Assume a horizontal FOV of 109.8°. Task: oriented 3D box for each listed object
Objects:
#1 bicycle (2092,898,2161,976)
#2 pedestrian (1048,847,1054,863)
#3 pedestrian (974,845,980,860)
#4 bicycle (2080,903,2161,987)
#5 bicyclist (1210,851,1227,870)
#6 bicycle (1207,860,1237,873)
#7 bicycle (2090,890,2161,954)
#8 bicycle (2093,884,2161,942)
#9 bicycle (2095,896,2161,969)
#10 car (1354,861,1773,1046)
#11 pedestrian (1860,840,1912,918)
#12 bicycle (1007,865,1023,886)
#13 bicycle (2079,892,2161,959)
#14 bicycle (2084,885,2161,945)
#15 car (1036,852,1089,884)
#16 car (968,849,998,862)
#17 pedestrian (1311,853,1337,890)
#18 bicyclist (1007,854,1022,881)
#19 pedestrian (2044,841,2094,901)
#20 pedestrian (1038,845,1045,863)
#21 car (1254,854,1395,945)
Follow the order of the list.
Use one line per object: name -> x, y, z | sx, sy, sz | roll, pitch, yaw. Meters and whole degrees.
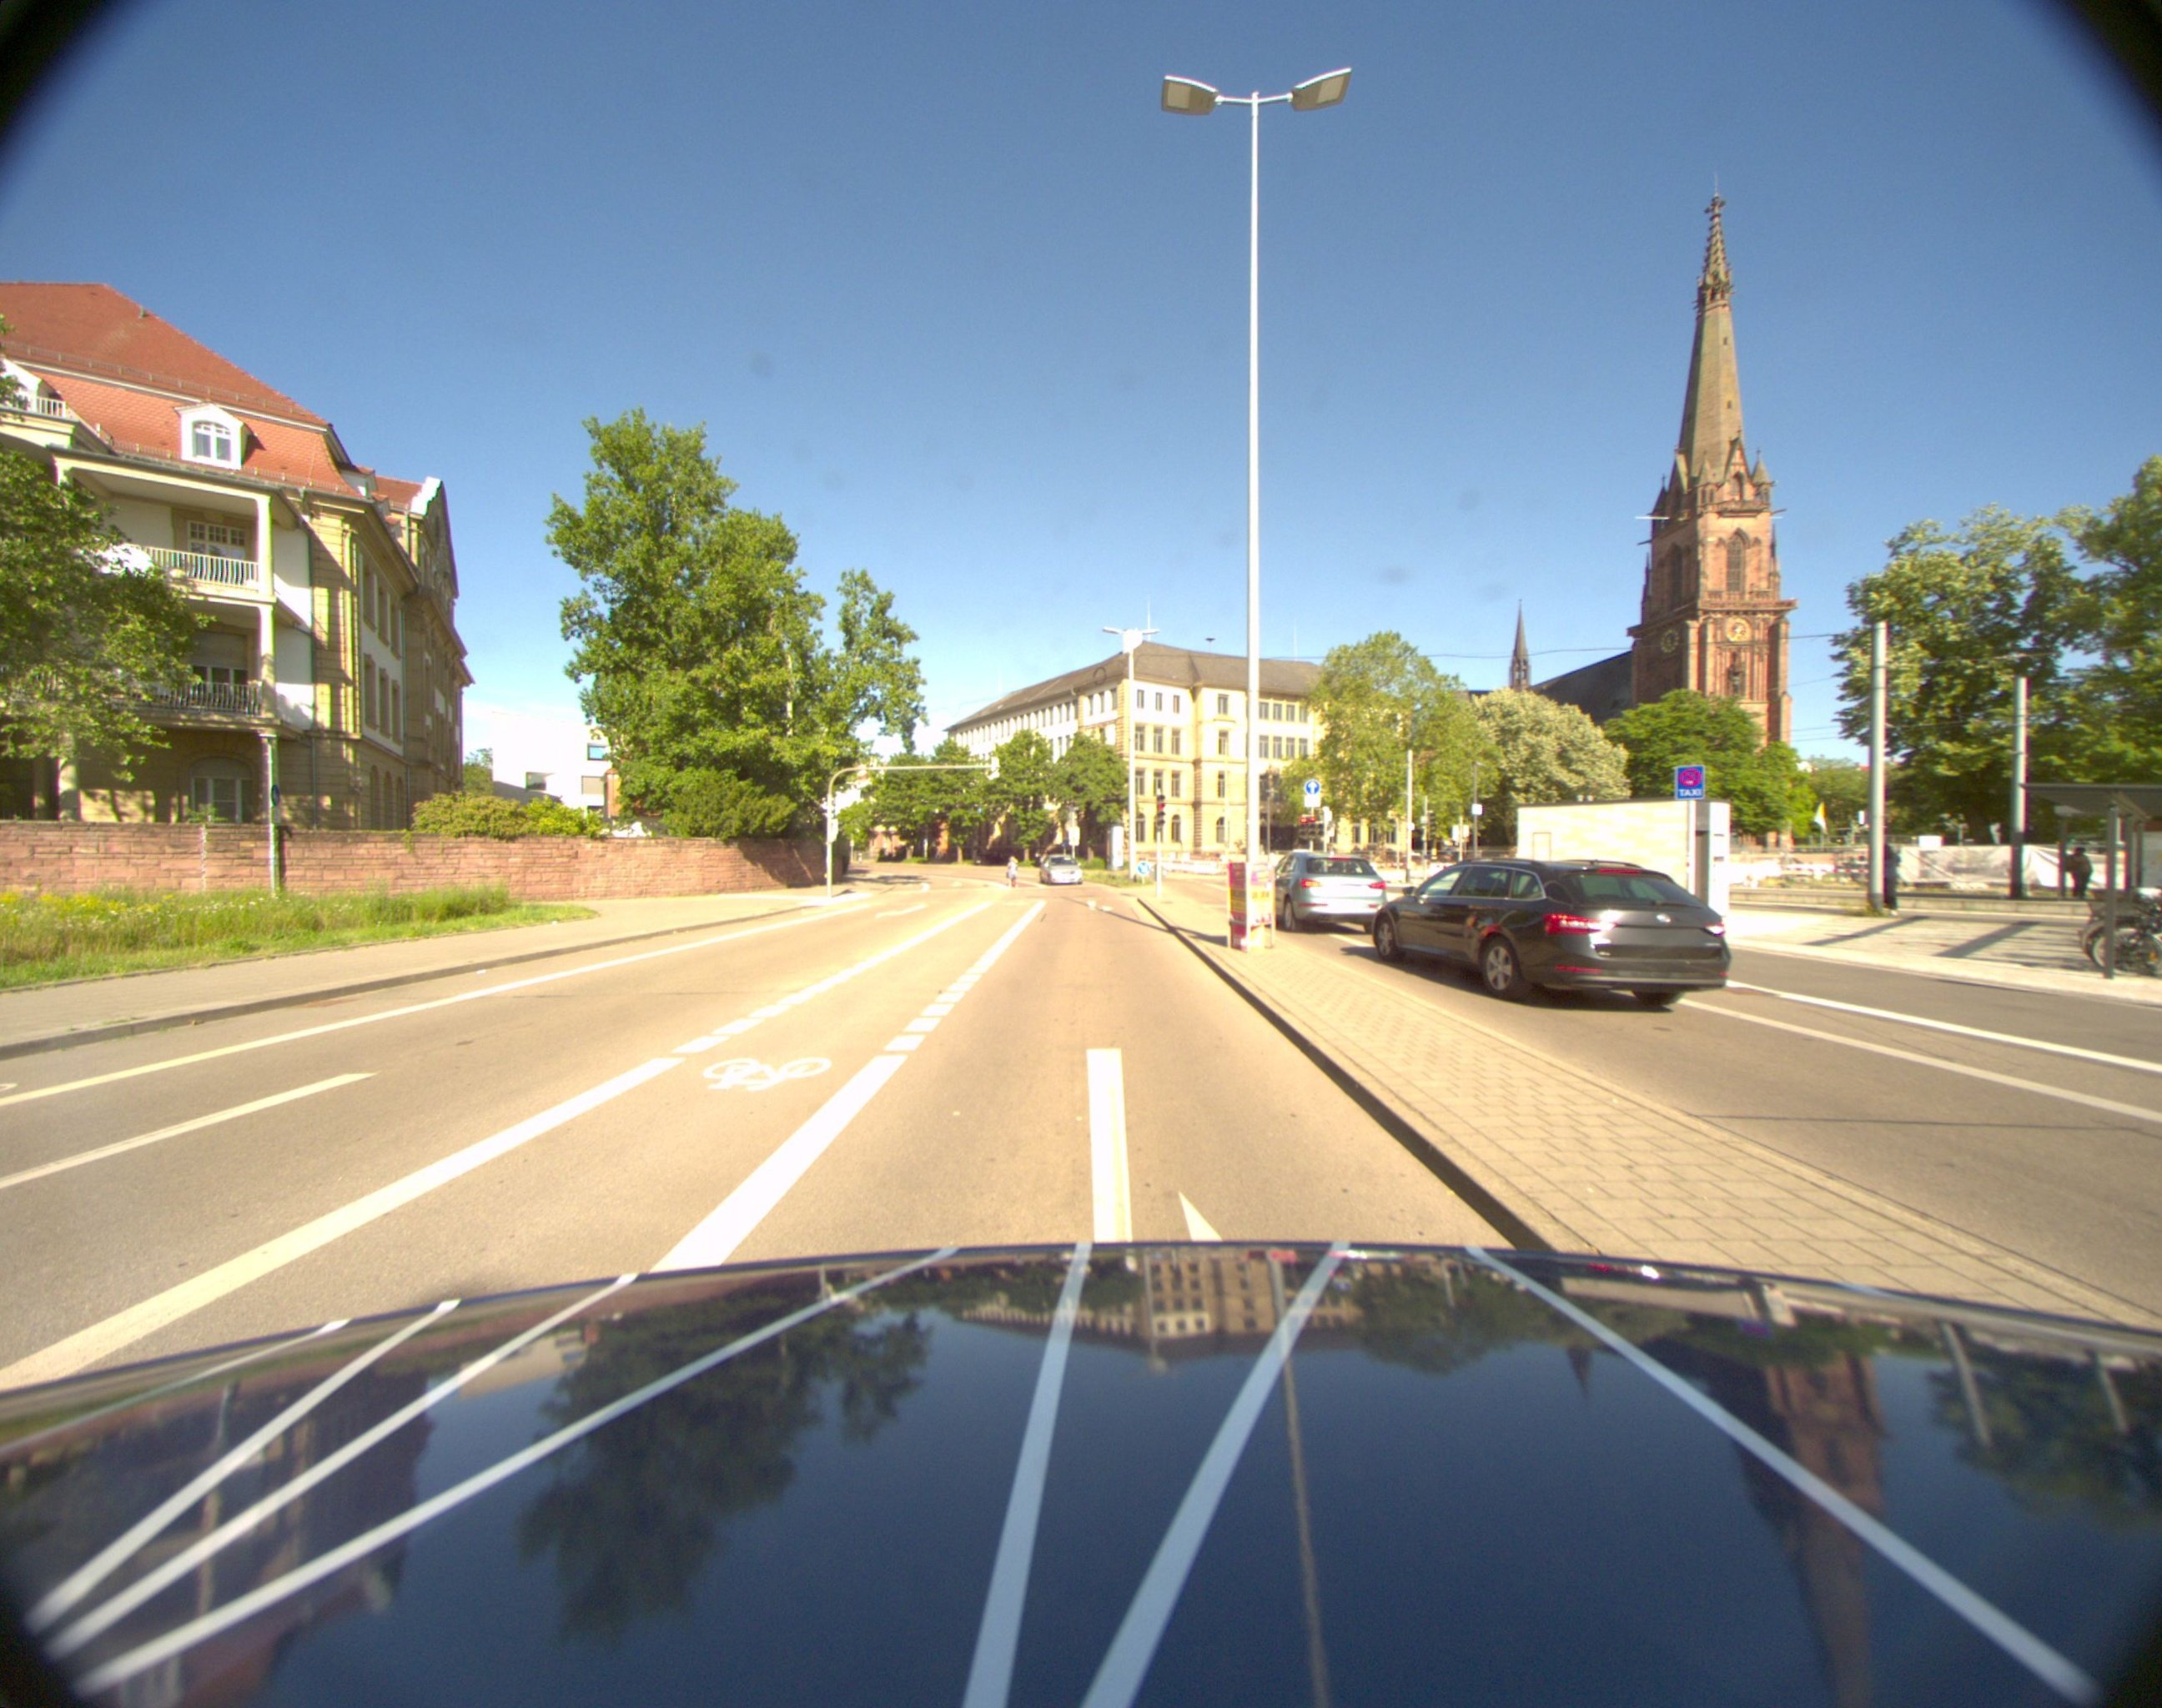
bicycle -> 15.029, 1.167, 10.206 | 0.407, 0.993, 1.678 | -3, 3, -33
pedestrian -> -3.353, 0.119, 84.800 | 0.540, 1.710, 0.545 | -1, 1, -37
pedestrian -> -13.385, -0.190, 97.791 | 0.578, 1.893, 0.781 | -1, 1, -36
bicycle -> 13.984, 1.189, 9.549 | 0.407, 0.993, 1.678 | -3, 3, -33
bicyclist -> 10.780, 0.507, 59.416 | 1.141, 1.531, 0.684 | 0, 1, 36
bicycle -> 10.997, 0.964, 59.277 | 2.236, 0.975, 0.695 | 0, 1, 36
bicycle -> 17.963, 1.138, 12.457 | 0.407, 0.993, 1.679 | -3, 2, -33
bicycle -> 19.512, 1.065, 13.577 | 0.407, 0.993, 1.679 | -3, 2, -33
bicycle -> 16.127, 1.183, 10.997 | 0.407, 0.993, 1.678 | -3, 3, -33
car -> 5.044, 0.891, 8.984 | 1.818, 1.496, 4.783 | 2, 0, -1
pedestrian -> 19.523, 0.594, 18.439 | 0.700, 1.849, 0.622 | 0, 1, 30
bicycle -> -3.465, 1.123, 39.760 | 0.741, 0.989, 2.305 | -2, 1, -6
bicycle -> 17.183, 1.142, 12.010 | 0.407, 0.993, 1.679 | -3, 2, -33
bicycle -> 19.027, 1.085, 13.335 | 0.407, 0.993, 1.679 | -3, 2, -33
car -> -1.077, 0.717, 41.536 | 2.000, 1.580, 4.846 | -3, 1, -11
car -> -11.710, 0.142, 90.600 | 1.839, 1.587, 3.989 | -1, 1, -37
pedestrian -> 11.093, 0.809, 34.666 | 0.934, 1.657, 0.629 | -1, 1, -25
bicyclist -> -3.484, 0.720, 39.739 | 0.741, 1.363, 0.626 | -2, 1, -6
pedestrian -> 30.722, 0.515, 23.639 | 0.619, 1.849, 0.703 | 0, 1, 11
pedestrian -> -4.576, -0.011, 87.973 | 0.557, 2.002, 0.645 | -1, 1, -37
car -> 4.821, 0.811, 15.687 | 1.791, 1.572, 4.259 | 1, 0, 4
